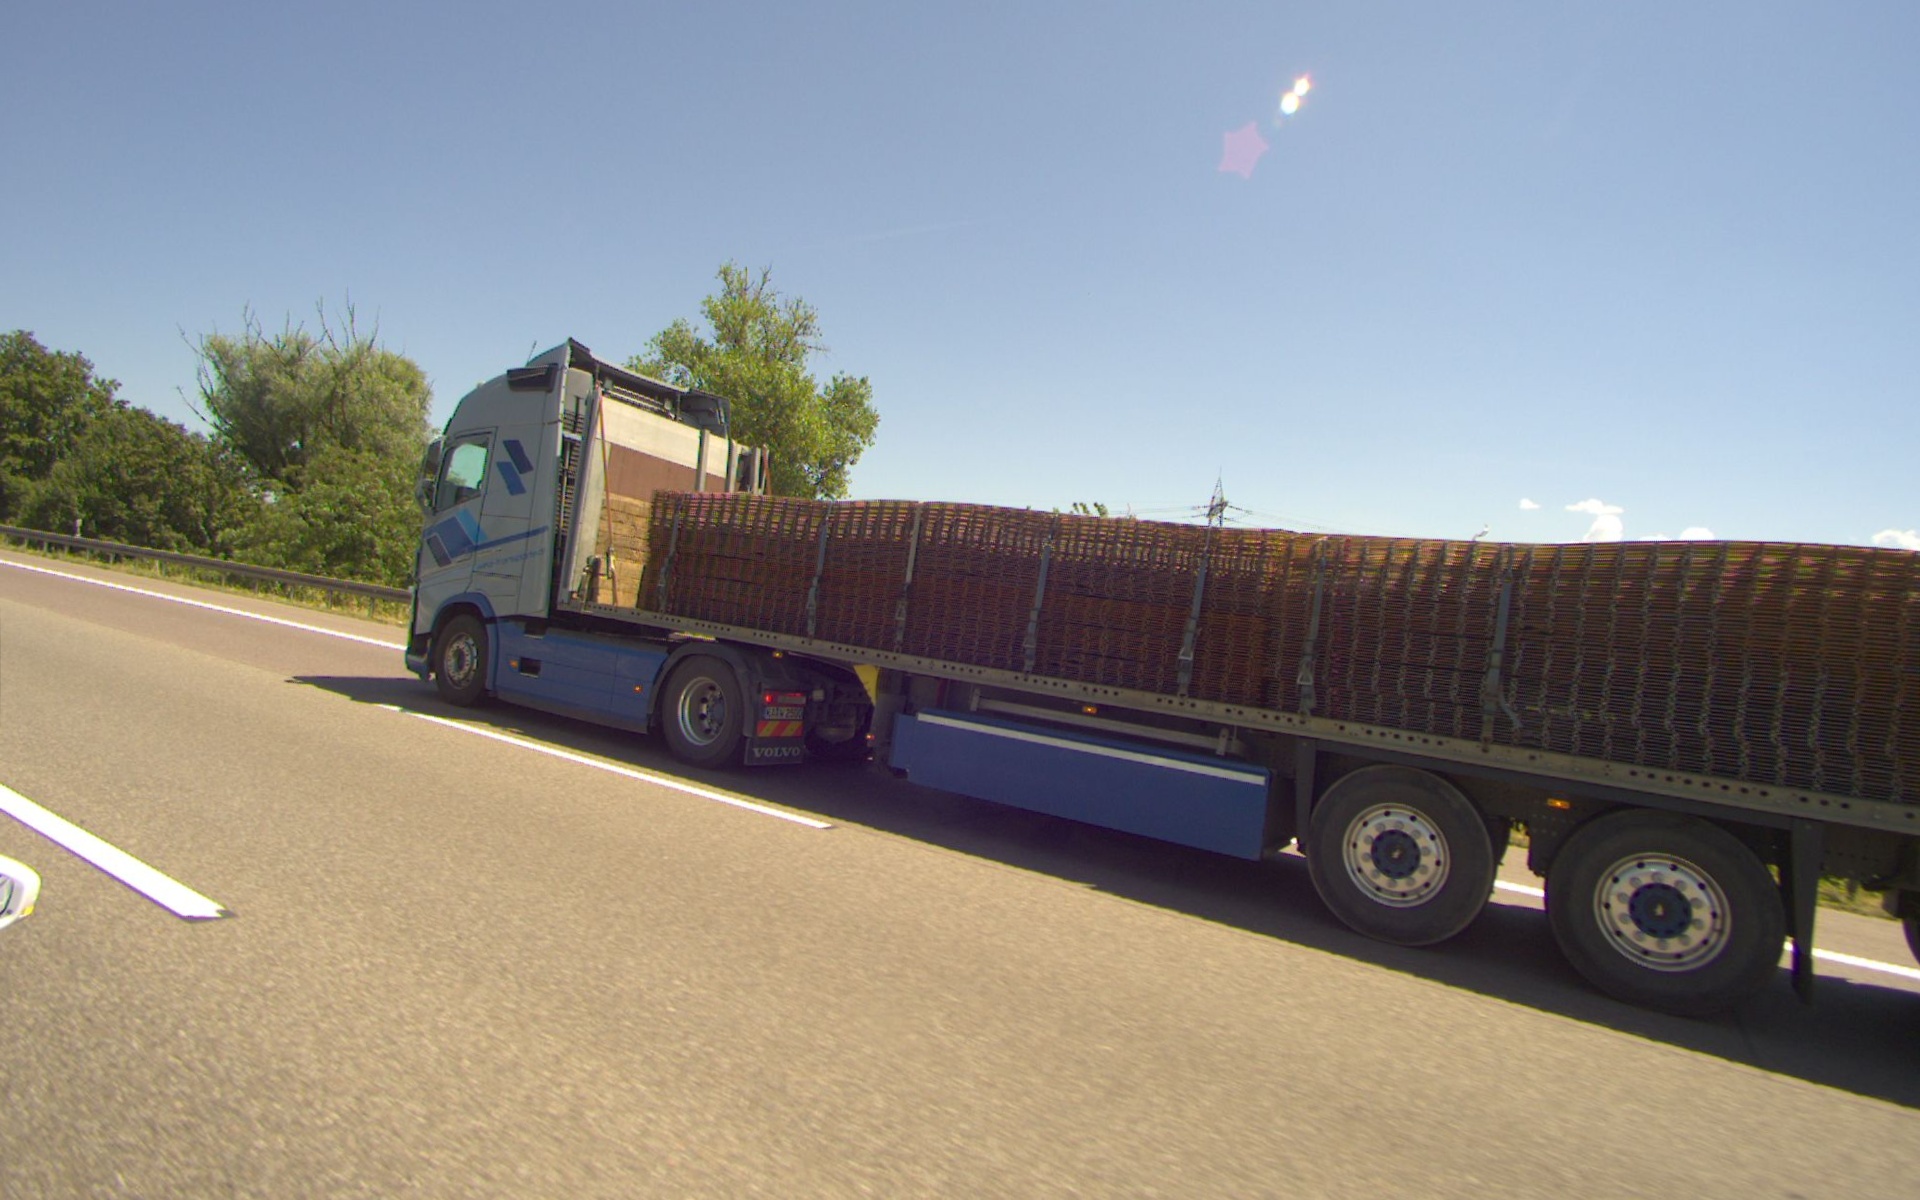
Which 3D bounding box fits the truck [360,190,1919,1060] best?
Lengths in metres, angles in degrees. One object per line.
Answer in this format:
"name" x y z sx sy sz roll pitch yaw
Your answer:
"truck" 1.206 -0.186 8.334 16.337 4.003 2.975 6 -2 31
